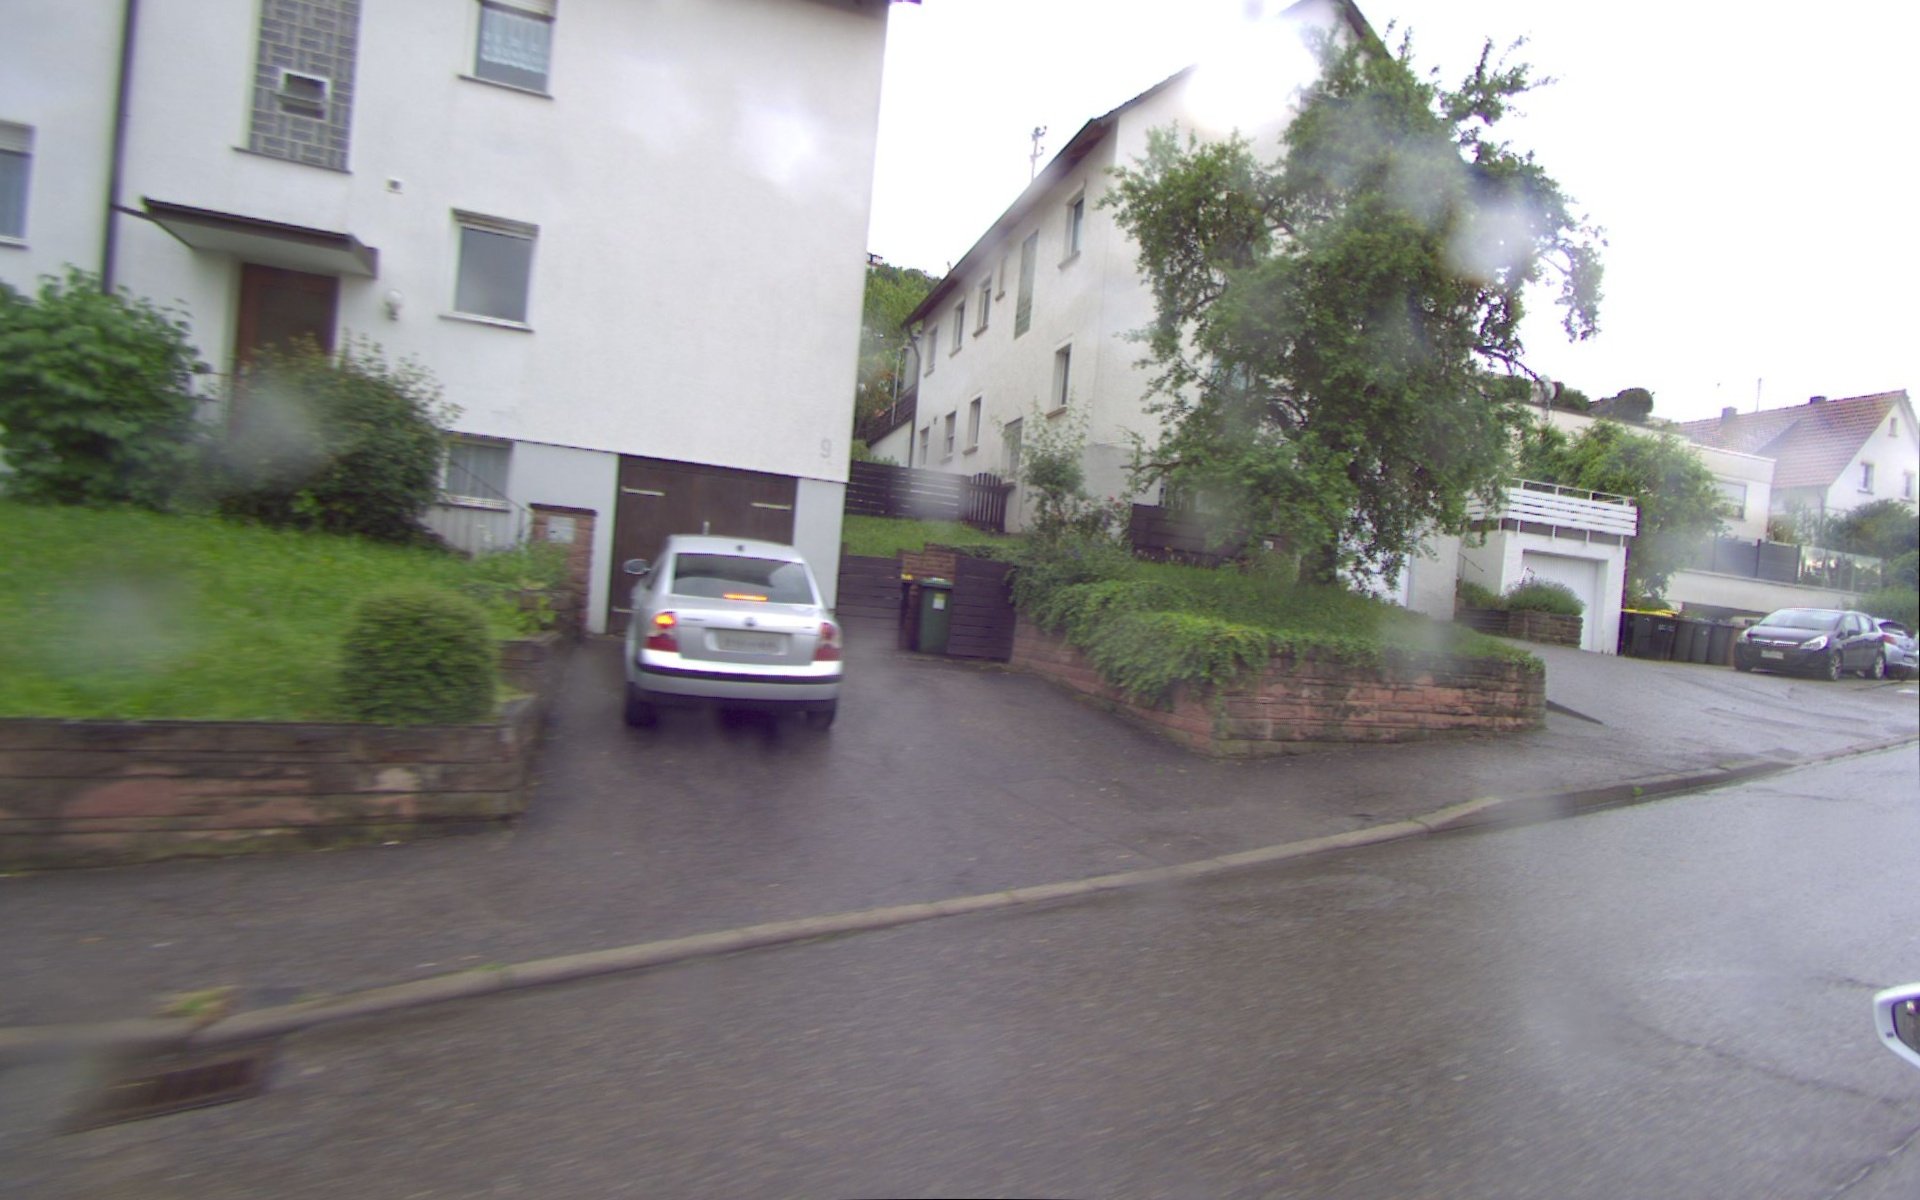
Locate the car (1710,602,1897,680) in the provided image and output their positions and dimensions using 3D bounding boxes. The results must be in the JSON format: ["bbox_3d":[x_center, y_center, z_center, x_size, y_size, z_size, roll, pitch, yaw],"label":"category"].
[{"bbox_3d":[18.098,0.860,21.511,4.200,1.395,1.756,2,3,-32],"label":"car"}]

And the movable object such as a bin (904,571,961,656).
[{"bbox_3d":[-0.414,0.192,14.598,0.670,1.186,0.797,1,0,-12],"label":"movable object such as a bin"}]

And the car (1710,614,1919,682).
[{"bbox_3d":[21.550,1.266,25.329,1.778,1.496,3.820,2,-6,-23],"label":"car"}]

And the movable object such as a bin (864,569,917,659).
[{"bbox_3d":[-1.002,0.201,14.380,0.562,1.245,0.684,1,0,-19],"label":"movable object such as a bin"}]

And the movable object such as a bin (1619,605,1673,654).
[{"bbox_3d":[15.485,0.656,22.697,0.691,1.071,0.748,1,-1,-23],"label":"movable object such as a bin"}]

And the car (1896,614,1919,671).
[{"bbox_3d":[29.239,1.280,29.607,4.380,1.618,1.789,2,0,-39],"label":"car"}]

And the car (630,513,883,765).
[{"bbox_3d":[-2.081,0.152,9.313,1.738,1.451,4.247,3,9,-18],"label":"car"}]

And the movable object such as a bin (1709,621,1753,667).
[{"bbox_3d":[18.781,1.070,24.476,0.548,1.092,0.652,1,0,-17],"label":"movable object such as a bin"}]
